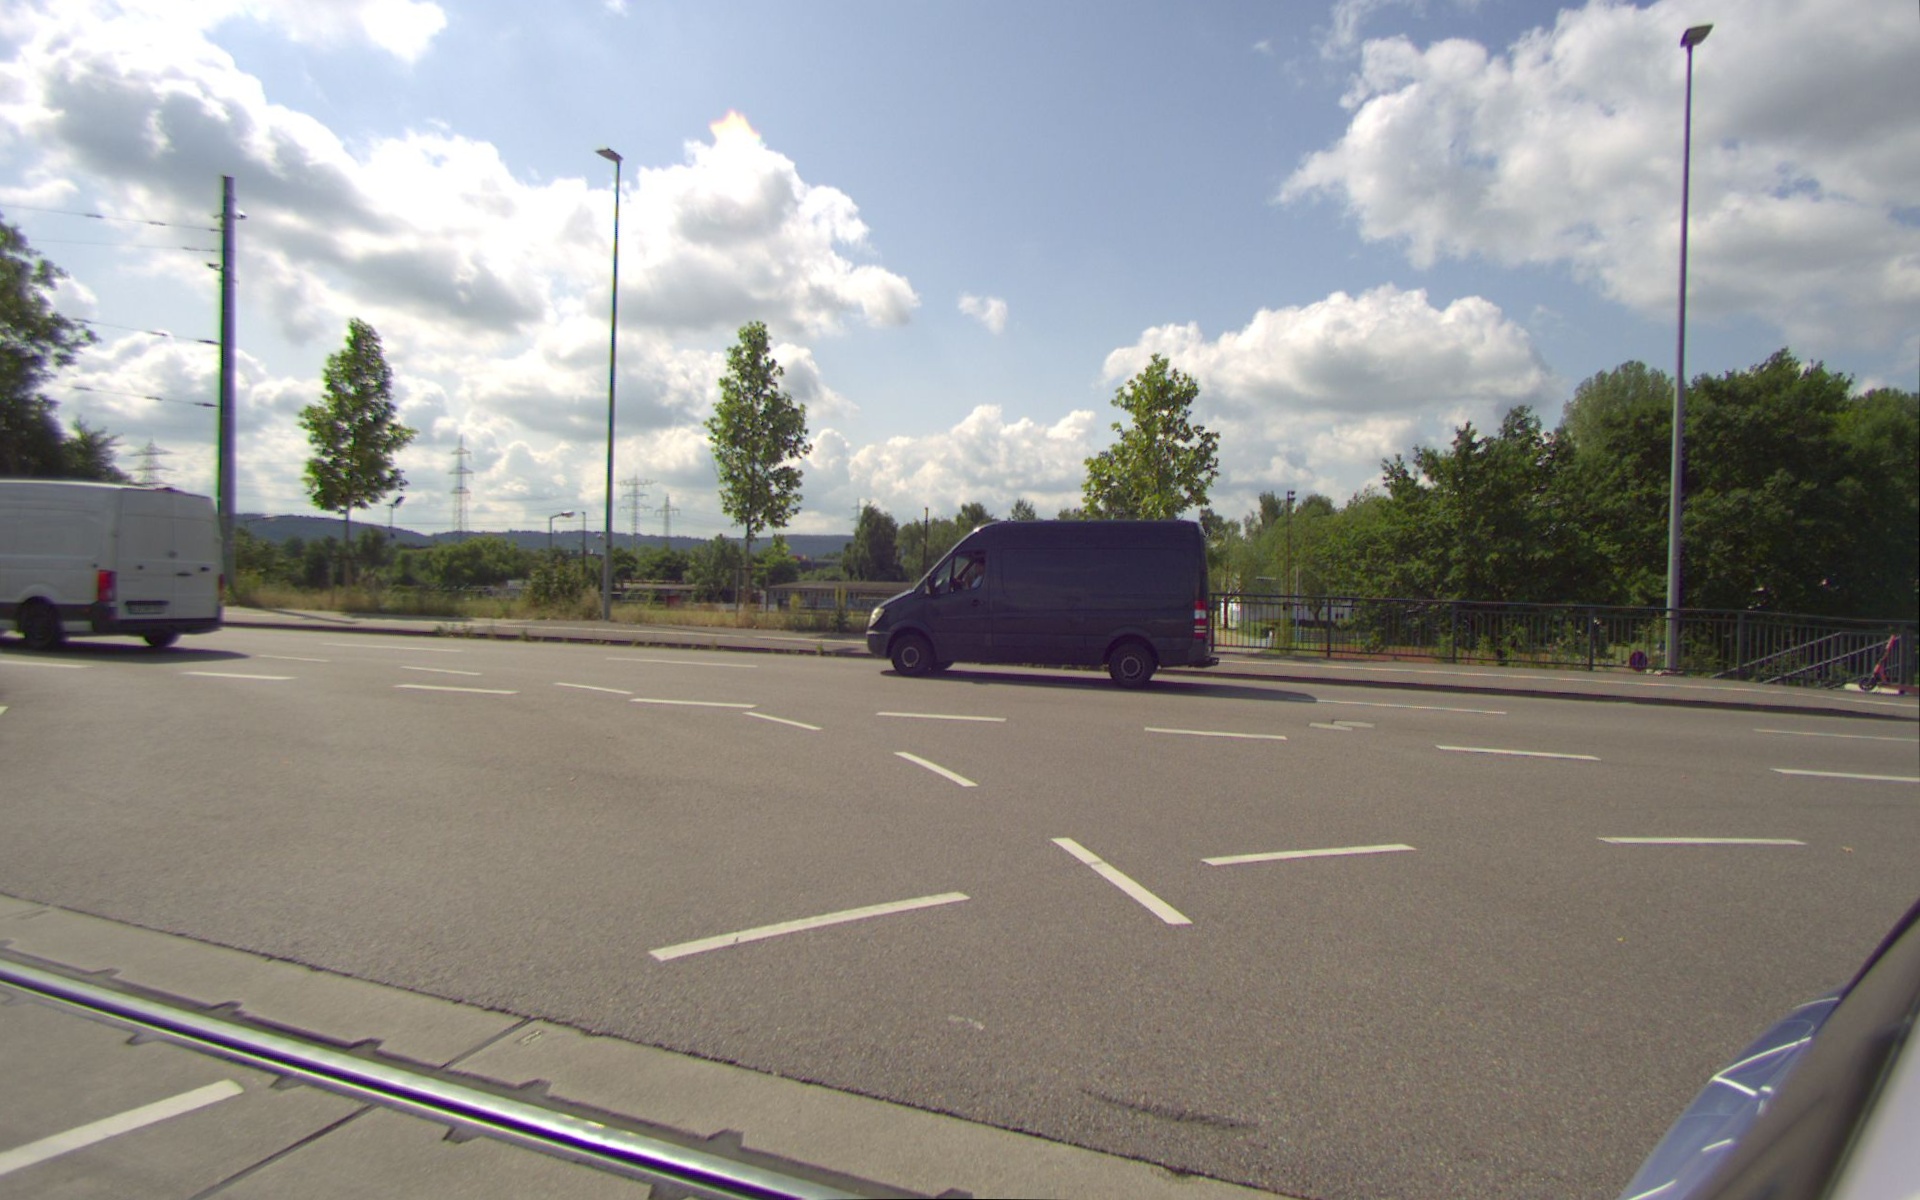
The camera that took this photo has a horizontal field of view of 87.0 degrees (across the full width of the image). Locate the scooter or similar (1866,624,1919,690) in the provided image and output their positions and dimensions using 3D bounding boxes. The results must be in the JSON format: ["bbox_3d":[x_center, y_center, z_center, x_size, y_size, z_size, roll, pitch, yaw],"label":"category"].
[{"bbox_3d":[16.922,1.021,17.920,1.234,1.113,0.341,3,1,20],"label":"scooter or similar"}]

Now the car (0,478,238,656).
[{"bbox_3d":[-14.736,-0.573,16.126,5.501,2.523,1.953,3,0,11],"label":"car"}]

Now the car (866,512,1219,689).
[{"bbox_3d":[1.418,-0.053,16.947,5.594,2.637,1.983,2,0,15],"label":"car"}]
